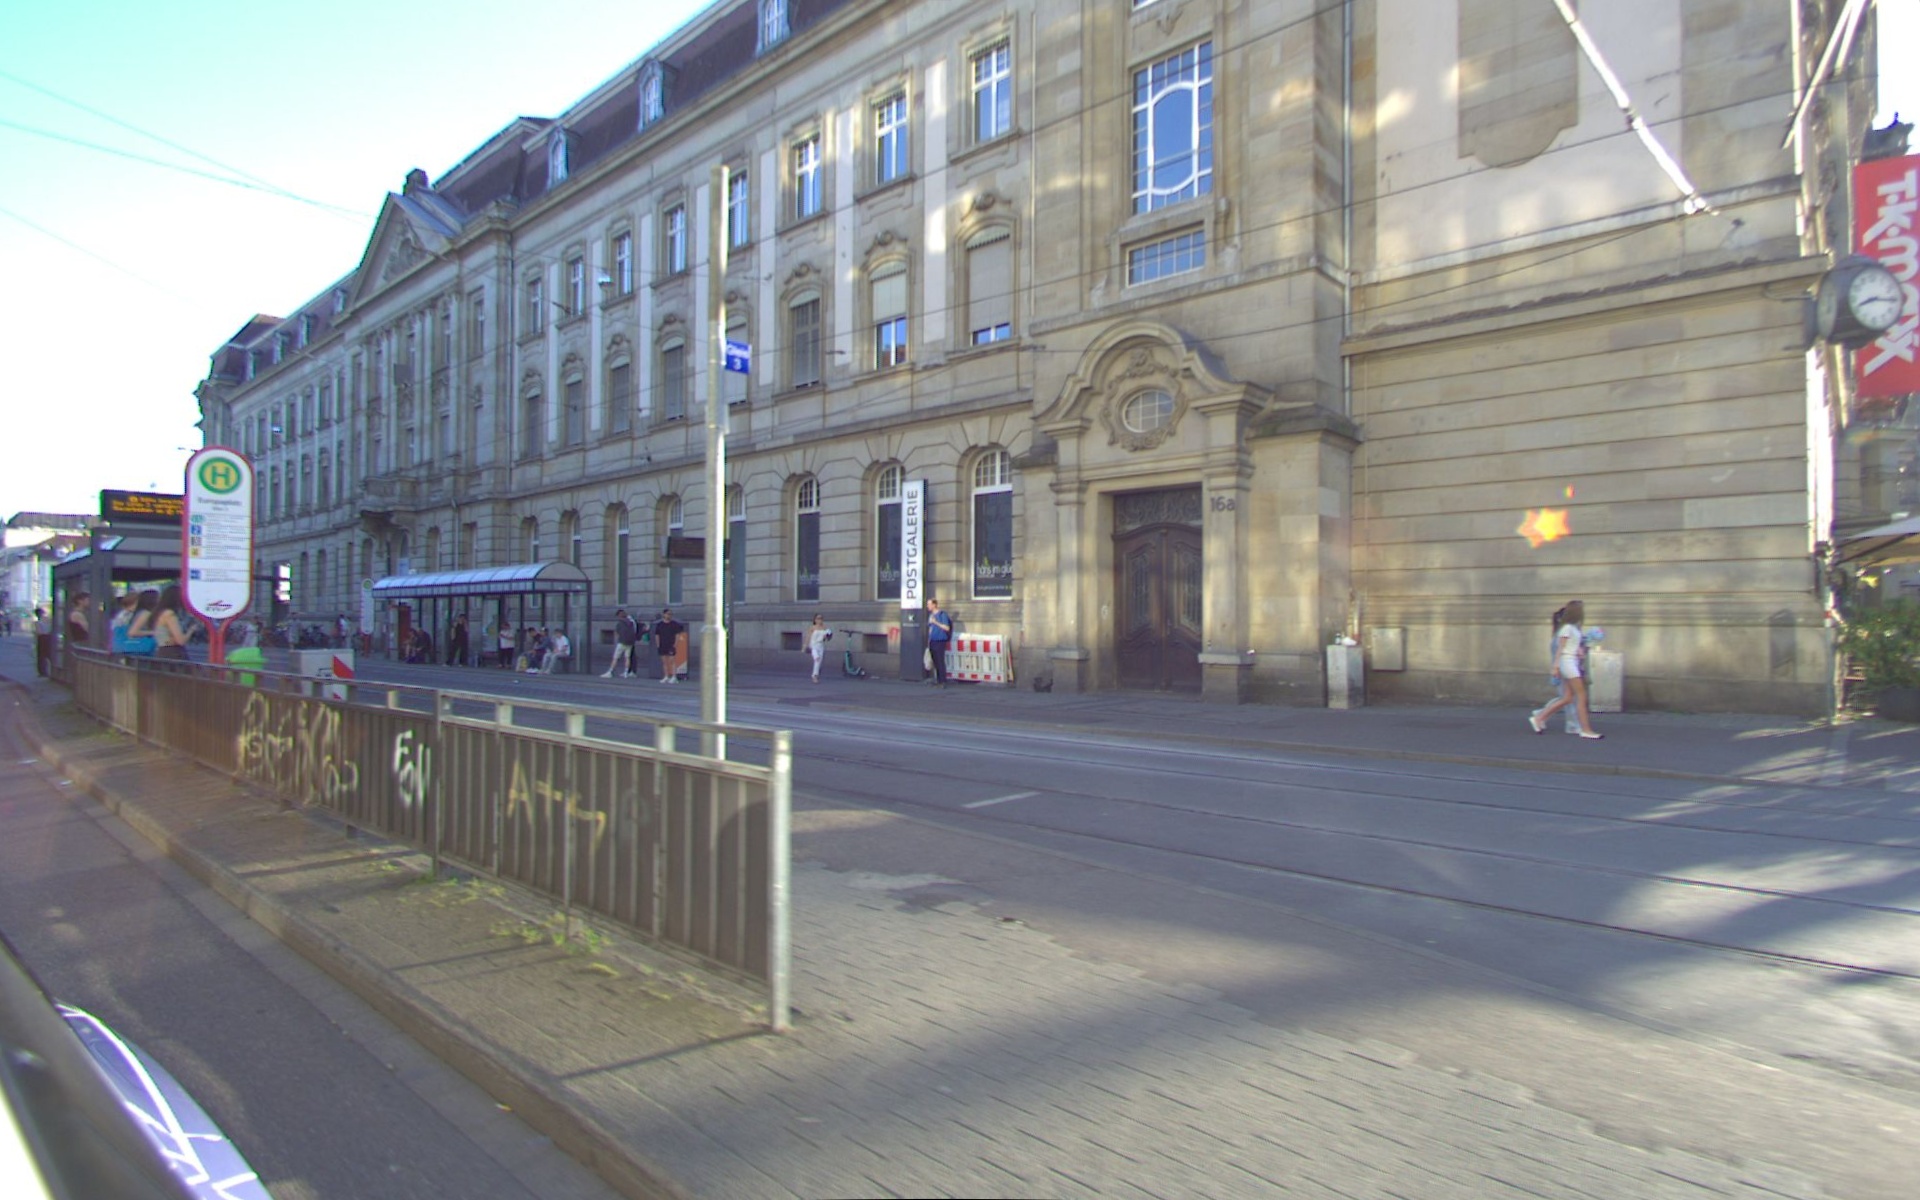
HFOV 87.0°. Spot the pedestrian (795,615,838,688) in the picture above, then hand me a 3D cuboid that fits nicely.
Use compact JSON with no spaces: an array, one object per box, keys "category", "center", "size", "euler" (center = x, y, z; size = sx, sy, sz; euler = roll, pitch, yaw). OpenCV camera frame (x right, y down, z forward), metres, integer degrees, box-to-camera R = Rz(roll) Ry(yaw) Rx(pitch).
[{"category":"pedestrian","center":[-3.279,1.158,23.137],"size":[0.630,1.626,0.692],"euler":[-2,-1,41]}]

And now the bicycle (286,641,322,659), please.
[{"category":"bicycle","center":[-34.880,2.659,53.825],"size":[1.557,0.880,0.451],"euler":[0,-1,-43]}]

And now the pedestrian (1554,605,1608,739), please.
[{"category":"pedestrian","center":[7.356,0.831,11.990],"size":[0.501,1.537,0.521],"euler":[-2,-2,33]}]

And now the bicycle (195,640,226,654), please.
[{"category":"bicycle","center":[-49.511,3.110,66.855],"size":[1.557,0.880,0.451],"euler":[0,-1,-43]}]

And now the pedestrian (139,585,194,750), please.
[{"category":"pedestrian","center":[-8.196,0.683,10.452],"size":[0.502,1.654,0.353],"euler":[-1,-1,40]}]

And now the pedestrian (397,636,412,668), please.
[{"category":"pedestrian","center":[-19.262,1.797,35.102],"size":[0.360,1.111,0.430],"euler":[0,-1,-42]}]

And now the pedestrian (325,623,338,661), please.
[{"category":"pedestrian","center":[-27.311,1.801,43.970],"size":[0.433,1.617,0.574],"euler":[0,-1,-27]}]

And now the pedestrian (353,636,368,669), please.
[{"category":"pedestrian","center":[-26.979,2.359,45.541],"size":[0.433,1.451,0.573],"euler":[-1,-1,-11]}]

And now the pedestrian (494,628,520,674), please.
[{"category":"pedestrian","center":[-13.716,1.534,30.634],"size":[0.511,1.337,0.638],"euler":[1,-2,-44]}]

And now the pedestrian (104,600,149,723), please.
[{"category":"pedestrian","center":[-11.557,0.838,14.032],"size":[0.549,1.654,0.382],"euler":[-1,-1,40]}]

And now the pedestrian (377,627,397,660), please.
[{"category":"pedestrian","center":[-25.989,1.974,45.879],"size":[0.590,1.501,0.538],"euler":[-1,-1,19]}]

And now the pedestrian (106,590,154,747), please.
[{"category":"pedestrian","center":[-9.856,0.796,12.016],"size":[0.544,1.809,0.338],"euler":[-1,-1,40]}]

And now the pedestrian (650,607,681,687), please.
[{"category":"pedestrian","center":[-6.738,1.063,23.169],"size":[0.462,1.790,0.561],"euler":[1,-2,-44]}]

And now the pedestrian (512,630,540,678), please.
[{"category":"pedestrian","center":[-12.220,1.505,28.495],"size":[0.511,1.337,0.638],"euler":[1,-2,-44]}]

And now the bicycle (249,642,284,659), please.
[{"category":"bicycle","center":[-39.507,2.889,57.662],"size":[1.557,0.880,0.451],"euler":[0,-1,-43]}]

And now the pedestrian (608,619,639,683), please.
[{"category":"pedestrian","center":[-8.538,1.284,25.654],"size":[0.511,1.581,0.638],"euler":[1,-2,-44]}]

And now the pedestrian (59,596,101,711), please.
[{"category":"pedestrian","center":[-13.911,0.832,15.997],"size":[0.594,1.780,0.408],"euler":[-1,-1,40]}]

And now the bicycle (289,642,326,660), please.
[{"category":"bicycle","center":[-33.733,2.621,52.303],"size":[1.557,0.880,0.451],"euler":[0,-1,-43]}]

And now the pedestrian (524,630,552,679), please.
[{"category":"pedestrian","center":[-11.673,1.493,27.985],"size":[0.511,1.337,0.638],"euler":[1,-2,-44]}]

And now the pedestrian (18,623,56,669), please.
[{"category":"pedestrian","center":[-30.676,1.519,33.627],"size":[0.901,1.512,0.837],"euler":[-2,-2,42]}]

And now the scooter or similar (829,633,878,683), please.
[{"category":"scooter or similar","center":[-2.625,1.408,24.861],"size":[1.293,1.191,0.481],"euler":[-1,-1,45]}]

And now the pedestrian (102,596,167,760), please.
[{"category":"pedestrian","center":[-9.259,0.847,11.351],"size":[0.533,1.780,0.595],"euler":[0,-1,-42]}]

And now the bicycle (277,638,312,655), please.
[{"category":"bicycle","center":[-36.103,2.527,54.899],"size":[1.557,0.880,0.451],"euler":[0,-1,-43]}]

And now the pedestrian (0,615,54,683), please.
[{"category":"pedestrian","center":[-23.175,1.196,25.123],"size":[0.956,1.641,0.692],"euler":[0,-2,-36]}]

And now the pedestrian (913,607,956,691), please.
[{"category":"pedestrian","center":[-0.555,1.060,22.003],"size":[0.705,1.790,0.614],"euler":[-2,-2,39]}]

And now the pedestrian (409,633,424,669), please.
[{"category":"pedestrian","center":[-18.286,1.705,34.050],"size":[0.360,1.209,0.430],"euler":[0,-1,-42]}]

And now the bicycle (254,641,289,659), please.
[{"category":"bicycle","center":[-38.353,2.780,56.358],"size":[1.557,0.880,0.451],"euler":[0,-1,-43]}]

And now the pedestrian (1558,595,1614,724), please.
[{"category":"pedestrian","center":[7.690,0.717,12.426],"size":[0.501,1.537,0.513],"euler":[-2,-2,38]}]

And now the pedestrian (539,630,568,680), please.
[{"category":"pedestrian","center":[-11.039,1.479,27.475],"size":[0.511,1.337,0.638],"euler":[1,-2,-44]}]

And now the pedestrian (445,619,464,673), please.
[{"category":"pedestrian","center":[-15.844,1.441,31.743],"size":[0.510,1.663,0.640],"euler":[1,-1,-25]}]

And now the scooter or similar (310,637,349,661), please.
[{"category":"scooter or similar","center":[-29.959,2.325,48.097],"size":[1.529,1.076,0.451],"euler":[0,-1,-43]}]

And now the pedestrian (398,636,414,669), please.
[{"category":"pedestrian","center":[-18.936,1.789,34.590],"size":[0.360,1.111,0.430],"euler":[0,-1,-42]}]

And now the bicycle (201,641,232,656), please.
[{"category":"bicycle","center":[-48.819,3.177,66.454],"size":[1.557,0.880,0.451],"euler":[0,-1,-43]}]

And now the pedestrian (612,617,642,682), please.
[{"category":"pedestrian","center":[-8.717,1.276,26.451],"size":[0.511,1.658,0.638],"euler":[1,-2,-44]}]

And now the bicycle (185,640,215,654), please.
[{"category":"bicycle","center":[-51.235,3.147,68.252],"size":[1.557,0.880,0.451],"euler":[0,-1,-43]}]
